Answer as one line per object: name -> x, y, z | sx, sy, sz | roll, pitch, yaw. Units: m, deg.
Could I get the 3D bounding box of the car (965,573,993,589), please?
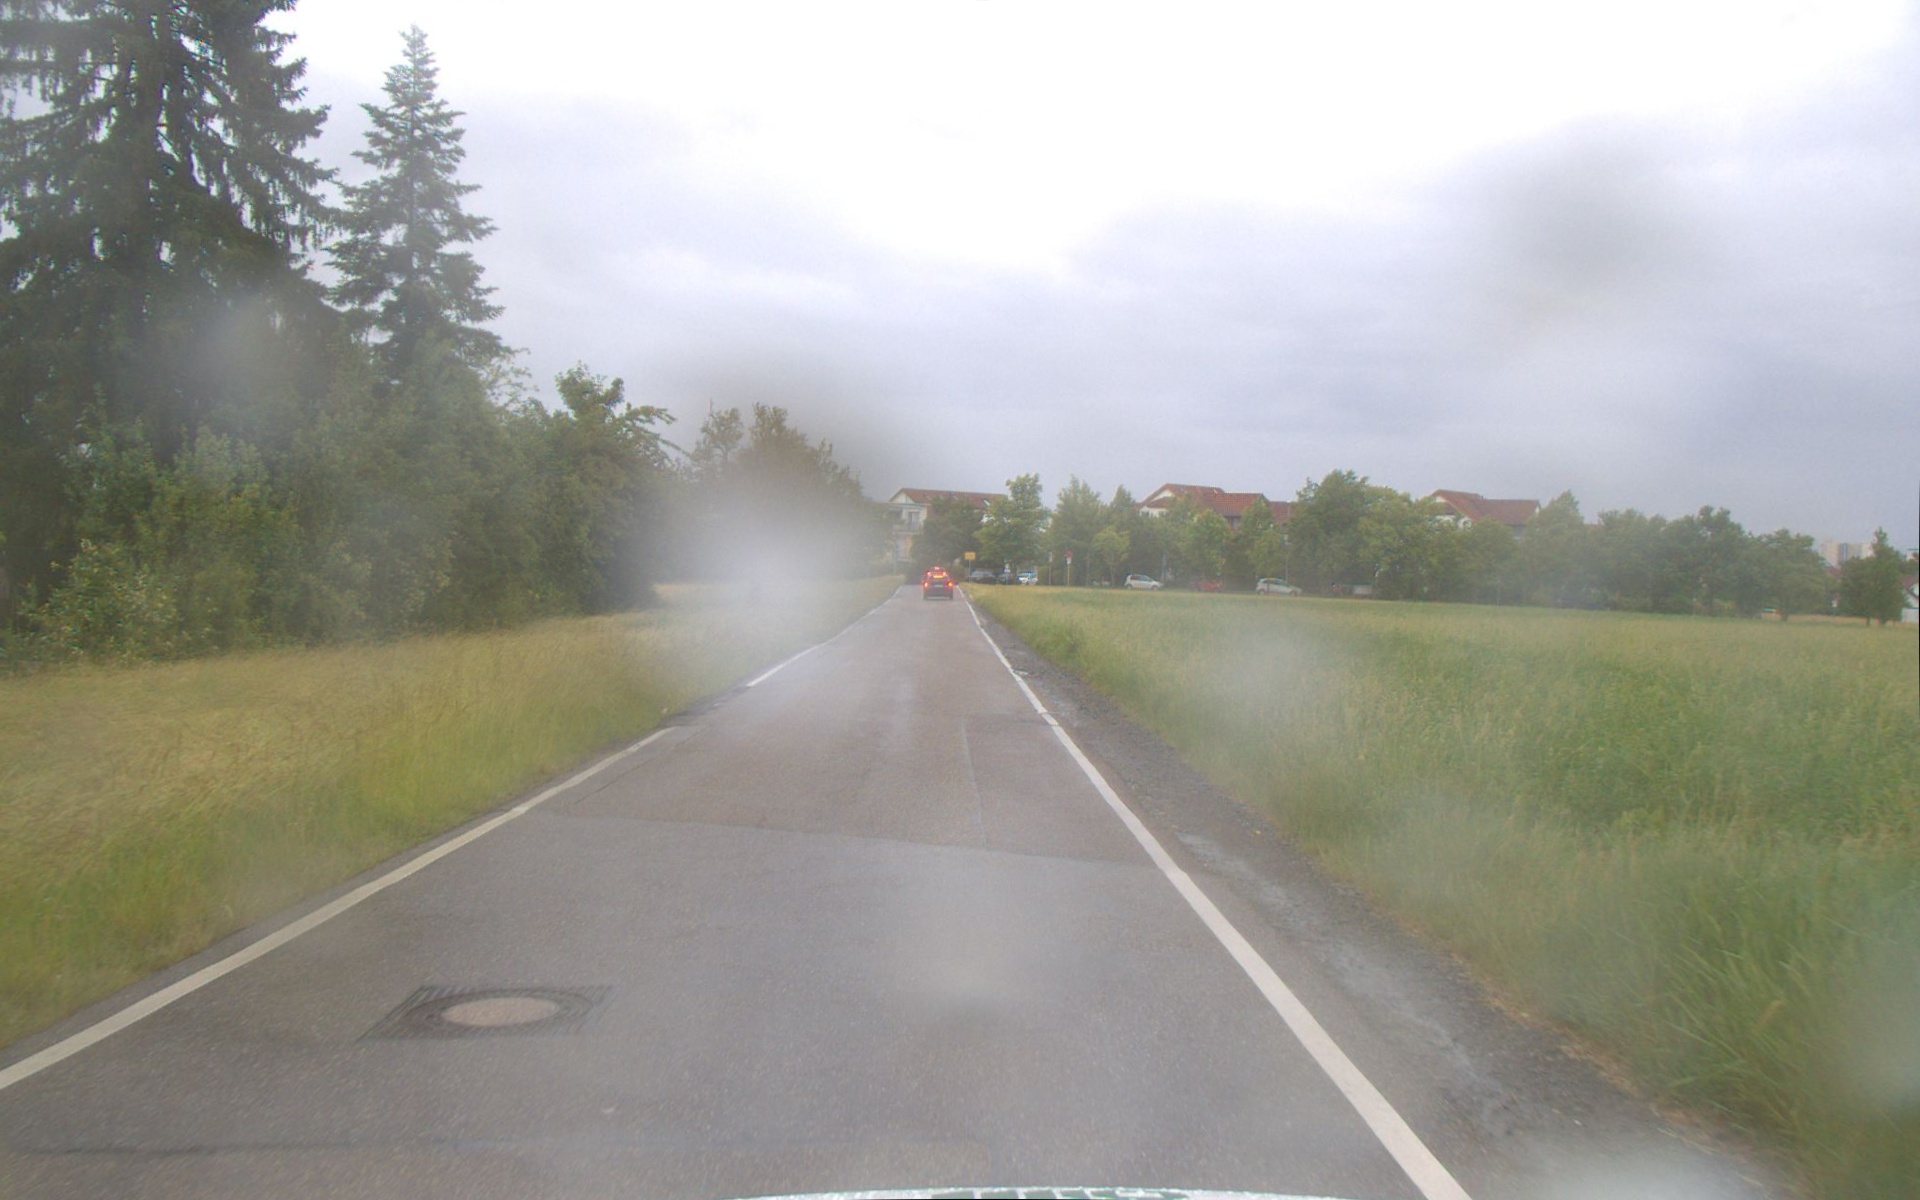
car -> 2.063, -1.982, 177.307 | 1.627, 1.573, 3.998 | 1, -1, 24

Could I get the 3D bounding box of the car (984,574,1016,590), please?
car -> 4.438, -1.980, 181.808 | 1.632, 1.573, 3.986 | 1, -1, 35

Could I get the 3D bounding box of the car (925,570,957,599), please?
car -> -1.114, -0.881, 96.988 | 1.777, 1.622, 4.000 | 1, -1, 0

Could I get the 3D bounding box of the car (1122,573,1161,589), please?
car -> 16.323, -1.713, 148.402 | 3.317, 1.394, 1.549 | 1, -1, 12

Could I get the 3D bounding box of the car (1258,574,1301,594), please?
car -> 28.143, -1.412, 145.488 | 3.630, 1.591, 1.611 | 1, -1, 12

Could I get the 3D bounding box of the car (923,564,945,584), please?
car -> -2.252, -2.236, 144.358 | 1.777, 1.622, 4.000 | 1, -1, 0

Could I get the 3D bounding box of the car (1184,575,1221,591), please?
car -> 21.607, -1.509, 147.141 | 3.124, 1.394, 1.573 | 1, -1, 12
